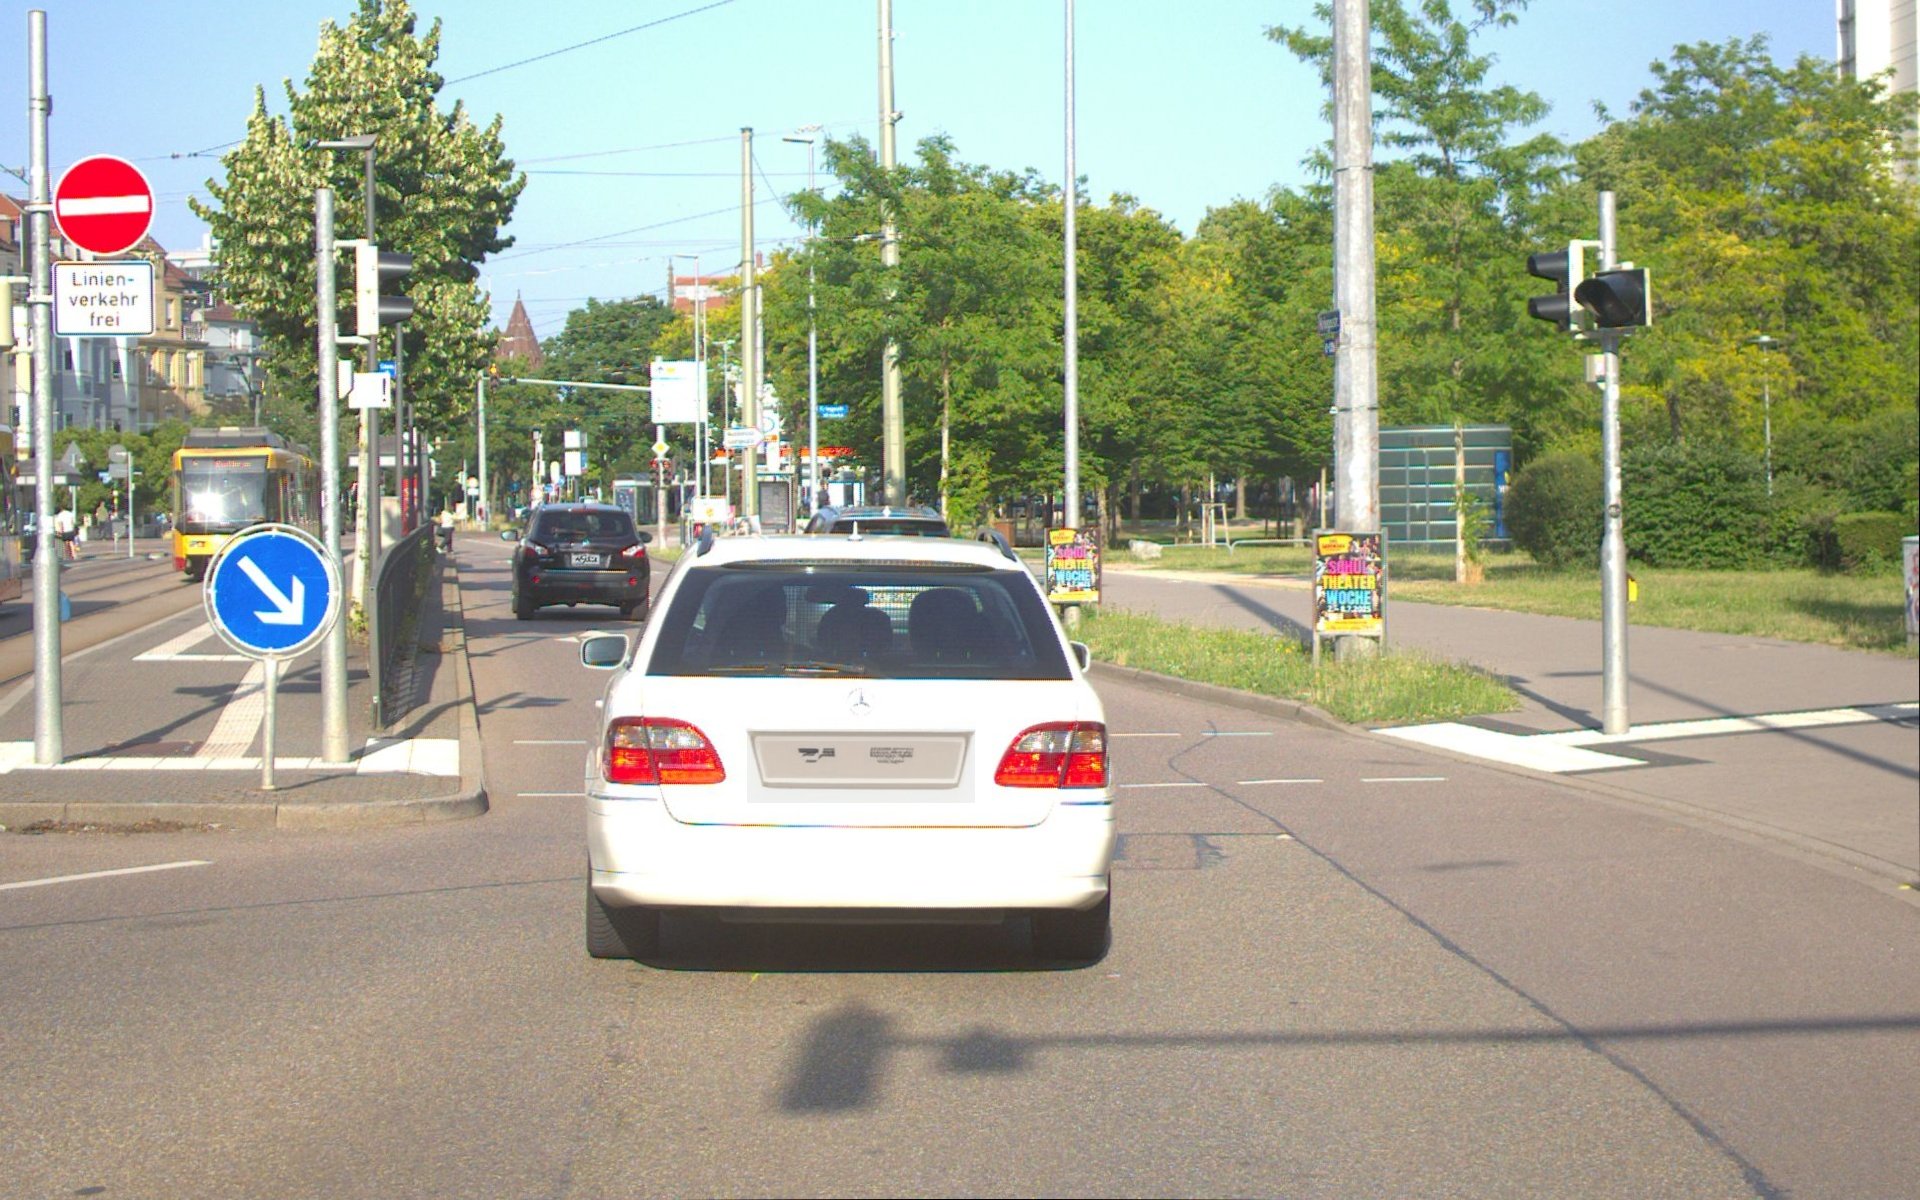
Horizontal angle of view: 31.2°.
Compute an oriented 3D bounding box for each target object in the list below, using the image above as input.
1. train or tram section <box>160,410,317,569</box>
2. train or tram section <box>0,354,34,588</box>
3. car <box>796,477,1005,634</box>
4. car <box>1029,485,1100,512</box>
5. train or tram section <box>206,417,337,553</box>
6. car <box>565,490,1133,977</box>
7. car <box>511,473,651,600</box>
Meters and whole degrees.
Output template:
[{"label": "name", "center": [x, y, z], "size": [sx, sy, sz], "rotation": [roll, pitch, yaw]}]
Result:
[{"label": "train or tram section", "center": [-17.078, -2.683, 82.098], "size": [2.849, 3.467, 13.204], "rotation": [0, 2, -8]}, {"label": "train or tram section", "center": [-15.402, -1.823, 48.390], "size": [3.161, 3.467, 14.477], "rotation": [0, 2, -9]}, {"label": "car", "center": [-0.703, -0.524, 37.176], "size": [2.033, 1.599, 4.001], "rotation": [0, 2, -4]}, {"label": "car", "center": [6.506, -6.339, 214.217], "size": [3.987, 1.645, 2.000], "rotation": [-2, 2, -35]}, {"label": "train or tram section", "center": [-18.860, -3.184, 94.796], "size": [2.849, 3.467, 13.204], "rotation": [0, 2, -8]}, {"label": "car", "center": [-0.530, 0.373, 12.686], "size": [1.758, 1.498, 4.001], "rotation": [0, 1, -6]}, {"label": "car", "center": [-5.208, -0.916, 47.597], "size": [1.787, 1.684, 4.001], "rotation": [0, 2, -4]}]
